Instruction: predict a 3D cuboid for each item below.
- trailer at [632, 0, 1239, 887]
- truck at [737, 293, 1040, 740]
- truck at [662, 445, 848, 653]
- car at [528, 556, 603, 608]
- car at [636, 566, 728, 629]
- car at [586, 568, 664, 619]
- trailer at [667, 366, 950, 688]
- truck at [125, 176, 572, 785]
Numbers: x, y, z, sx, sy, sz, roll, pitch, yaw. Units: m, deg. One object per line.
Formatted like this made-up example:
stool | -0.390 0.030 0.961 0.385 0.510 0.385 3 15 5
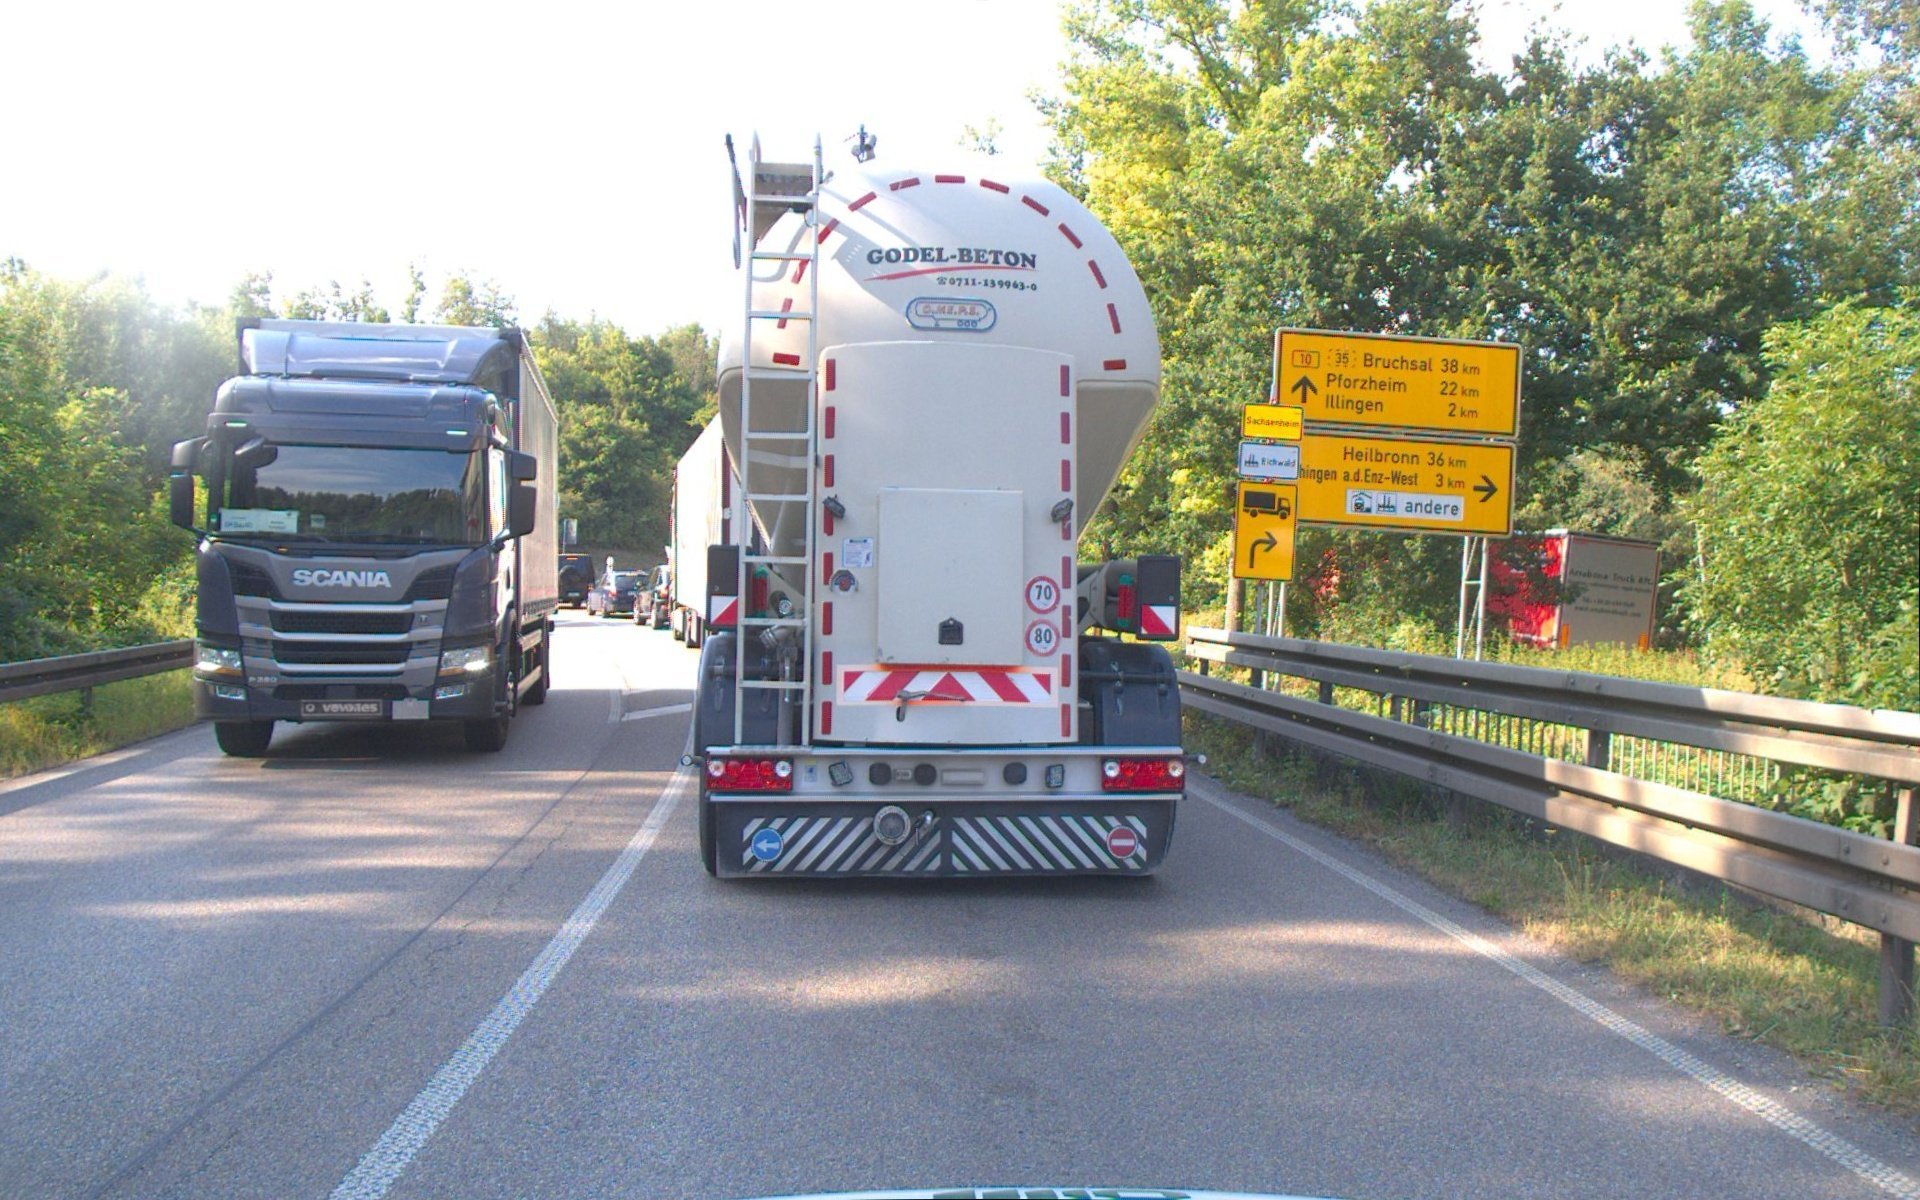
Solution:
trailer | -0.488 -0.922 12.681 2.830 4.532 9.596 1 0 -5
truck | -1.015 -0.774 18.335 2.771 4.105 5.885 1 0 -7
truck | -4.761 -1.108 37.133 3.391 4.157 6.470 2 1 -13
car | -14.877 -0.704 62.254 1.933 1.883 3.966 -1 2 -26
car | -7.747 -0.112 45.810 1.840 1.656 3.976 0 1 -20
car | -10.886 -0.244 53.604 1.841 1.592 3.975 0 1 -21
trailer | -3.320 -1.081 30.695 3.484 4.592 12.942 2 0 -13
truck | -5.927 -0.910 17.994 2.959 4.665 10.211 1 0 -12
